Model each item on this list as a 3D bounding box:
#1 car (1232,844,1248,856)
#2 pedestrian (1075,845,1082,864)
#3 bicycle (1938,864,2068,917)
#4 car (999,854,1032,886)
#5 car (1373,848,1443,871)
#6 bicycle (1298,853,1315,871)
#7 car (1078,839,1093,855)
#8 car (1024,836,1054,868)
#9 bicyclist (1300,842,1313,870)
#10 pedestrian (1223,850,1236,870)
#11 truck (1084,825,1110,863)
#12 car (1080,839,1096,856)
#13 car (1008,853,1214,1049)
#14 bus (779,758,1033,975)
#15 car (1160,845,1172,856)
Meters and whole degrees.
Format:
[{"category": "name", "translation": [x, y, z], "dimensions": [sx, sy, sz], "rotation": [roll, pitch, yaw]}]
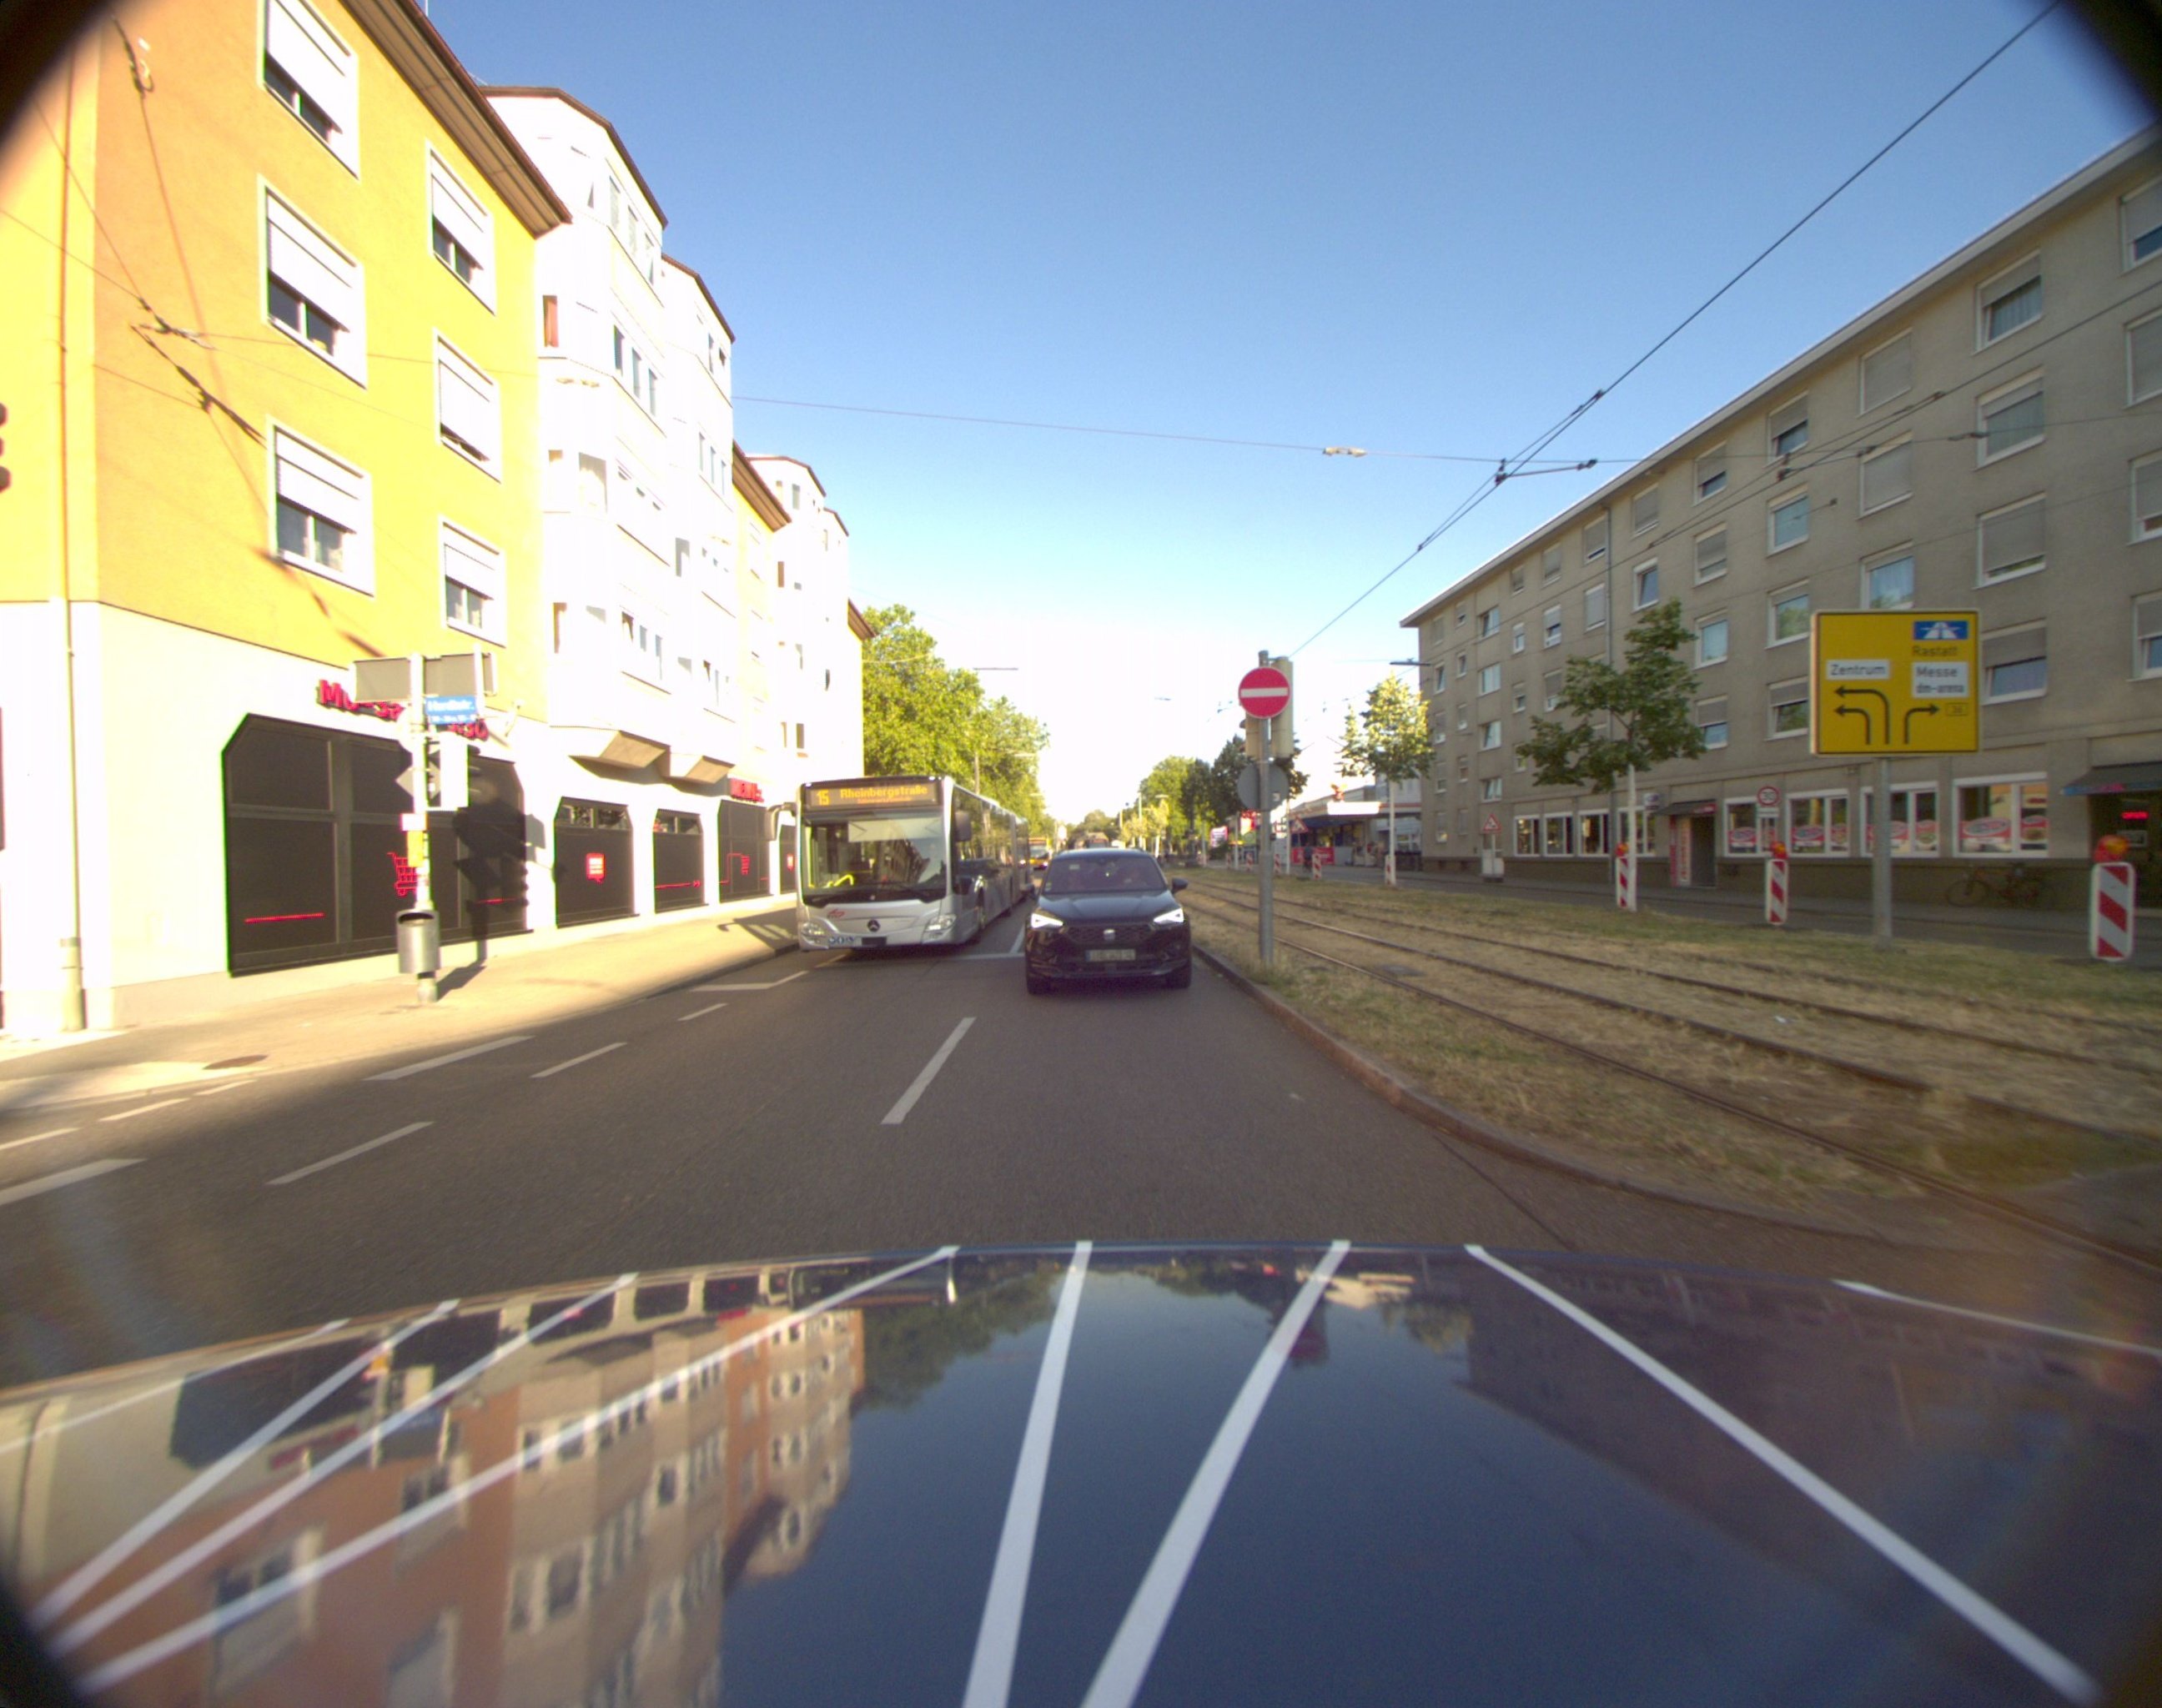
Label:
[{"category": "car", "translation": [21.674, -0.565, 103.700], "dimensions": [1.781, 1.547, 4.001], "rotation": [-2, 1, 7]}, {"category": "pedestrian", "translation": [-0.247, 0.023, 79.544], "dimensions": [0.625, 2.002, 0.695], "rotation": [-2, 1, -2]}, {"category": "bicycle", "translation": [20.340, 0.779, 16.819], "dimensions": [0.609, 1.018, 1.844], "rotation": [-2, 1, -2]}, {"category": "car", "translation": [-3.732, 0.879, 43.736], "dimensions": [1.750, 1.598, 3.822], "rotation": [-2, 1, -3]}, {"category": "car", "translation": [21.468, 0.375, 49.998], "dimensions": [3.728, 1.460, 1.908], "rotation": [0, -1, -3]}, {"category": "bicycle", "translation": [15.533, 0.539, 52.366], "dimensions": [0.456, 1.250, 1.870], "rotation": [-1, 0, -3]}, {"category": "car", "translation": [0.616, -0.939, 101.596], "dimensions": [1.767, 2.002, 3.790], "rotation": [-2, 1, -2]}, {"category": "car", "translation": [-3.999, -0.219, 73.550], "dimensions": [2.682, 2.875, 5.450], "rotation": [-2, 1, -2]}, {"category": "bicyclist", "translation": [15.519, 0.132, 52.338], "dimensions": [0.653, 1.872, 0.809], "rotation": [0, 1, -3]}, {"category": "pedestrian", "translation": [9.703, 0.412, 49.586], "dimensions": [0.664, 1.263, 0.581], "rotation": [-2, 0, -1]}, {"category": "truck", "translation": [1.678, -1.115, 82.313], "dimensions": [2.306, 3.798, 7.721], "rotation": [-2, 1, -2]}, {"category": "car", "translation": [0.861, -0.863, 96.569], "dimensions": [1.767, 2.002, 3.790], "rotation": [-2, 1, -2]}, {"category": "car", "translation": [0.217, 0.851, 8.724], "dimensions": [1.775, 1.667, 3.999], "rotation": [-2, 0, -2]}, {"category": "bus", "translation": [-3.139, 0.107, 20.096], "dimensions": [2.773, 3.132, 17.737], "rotation": [-2, 1, -1]}, {"category": "car", "translation": [14.954, -0.576, 134.218], "dimensions": [1.998, 1.725, 4.394], "rotation": [-3, 1, 6]}]
